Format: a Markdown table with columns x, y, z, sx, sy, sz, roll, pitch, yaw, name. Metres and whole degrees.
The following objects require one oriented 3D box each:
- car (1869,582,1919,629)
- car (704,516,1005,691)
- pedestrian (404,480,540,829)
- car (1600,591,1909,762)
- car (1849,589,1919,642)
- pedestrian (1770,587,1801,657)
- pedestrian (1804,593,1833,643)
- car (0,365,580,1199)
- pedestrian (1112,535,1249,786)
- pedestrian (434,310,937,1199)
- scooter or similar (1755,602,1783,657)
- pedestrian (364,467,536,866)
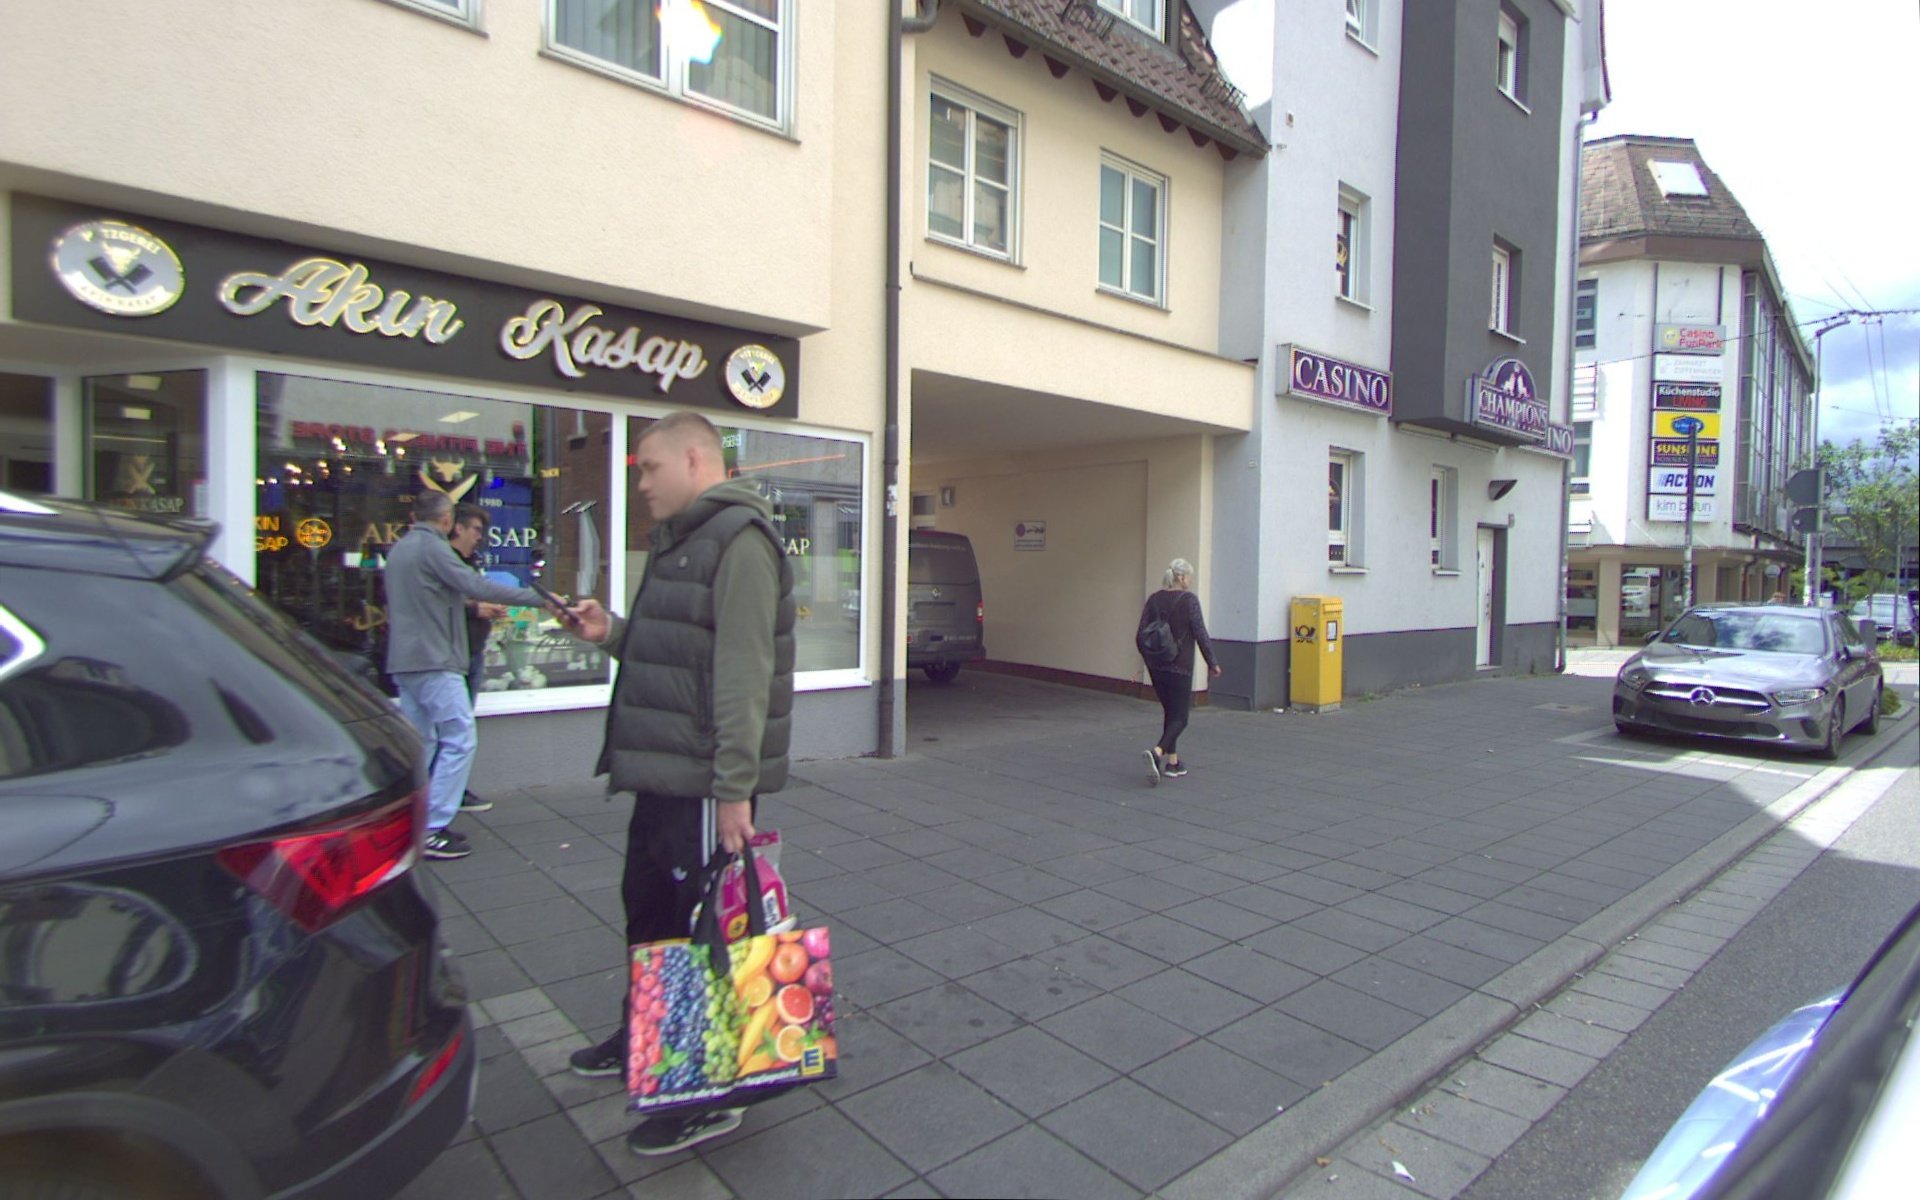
| x | y | z | sx | sy | sz | roll | pitch | yaw | name |
| --- | --- | --- | --- | --- | --- | --- | --- | --- | --- |
| 37.257 | 0.200 | 39.728 | 4.390 | 1.681 | 1.824 | 0 | 3 | -42 | car |
| -1.596 | -0.097 | 13.754 | 1.919 | 1.955 | 4.359 | 0 | 4 | -40 | car |
| -2.595 | 0.267 | 5.379 | 0.528 | 1.739 | 0.436 | -1 | 0 | -44 | pedestrian |
| 8.645 | 0.657 | 10.876 | 4.241 | 1.438 | 1.711 | -1 | 1 | -39 | car |
| 28.139 | 0.411 | 30.491 | 4.477 | 1.472 | 1.716 | 0 | 1 | -45 | car |
| 20.473 | 0.534 | 25.103 | 0.570 | 1.724 | 0.474 | 0 | 0 | 42 | pedestrian |
| 27.292 | 0.559 | 32.176 | 0.469 | 1.581 | 0.660 | -1 | 0 | -44 | pedestrian |
| -2.756 | 0.489 | 0.923 | 4.132 | 1.623 | 1.802 | 0 | 3 | -43 | car |
| 1.628 | 0.403 | 7.498 | 0.645 | 1.739 | 0.744 | -1 | 2 | -42 | pedestrian |
| -0.717 | 0.375 | 2.536 | 0.850 | 1.886 | 0.977 | -1 | 4 | -42 | pedestrian |
| 20.102 | 0.720 | 25.135 | 0.430 | 1.296 | 1.230 | 0 | 1 | 44 | scooter or similar |
| -2.426 | 0.286 | 4.814 | 0.596 | 1.739 | 0.536 | -1 | 0 | -43 | pedestrian |
